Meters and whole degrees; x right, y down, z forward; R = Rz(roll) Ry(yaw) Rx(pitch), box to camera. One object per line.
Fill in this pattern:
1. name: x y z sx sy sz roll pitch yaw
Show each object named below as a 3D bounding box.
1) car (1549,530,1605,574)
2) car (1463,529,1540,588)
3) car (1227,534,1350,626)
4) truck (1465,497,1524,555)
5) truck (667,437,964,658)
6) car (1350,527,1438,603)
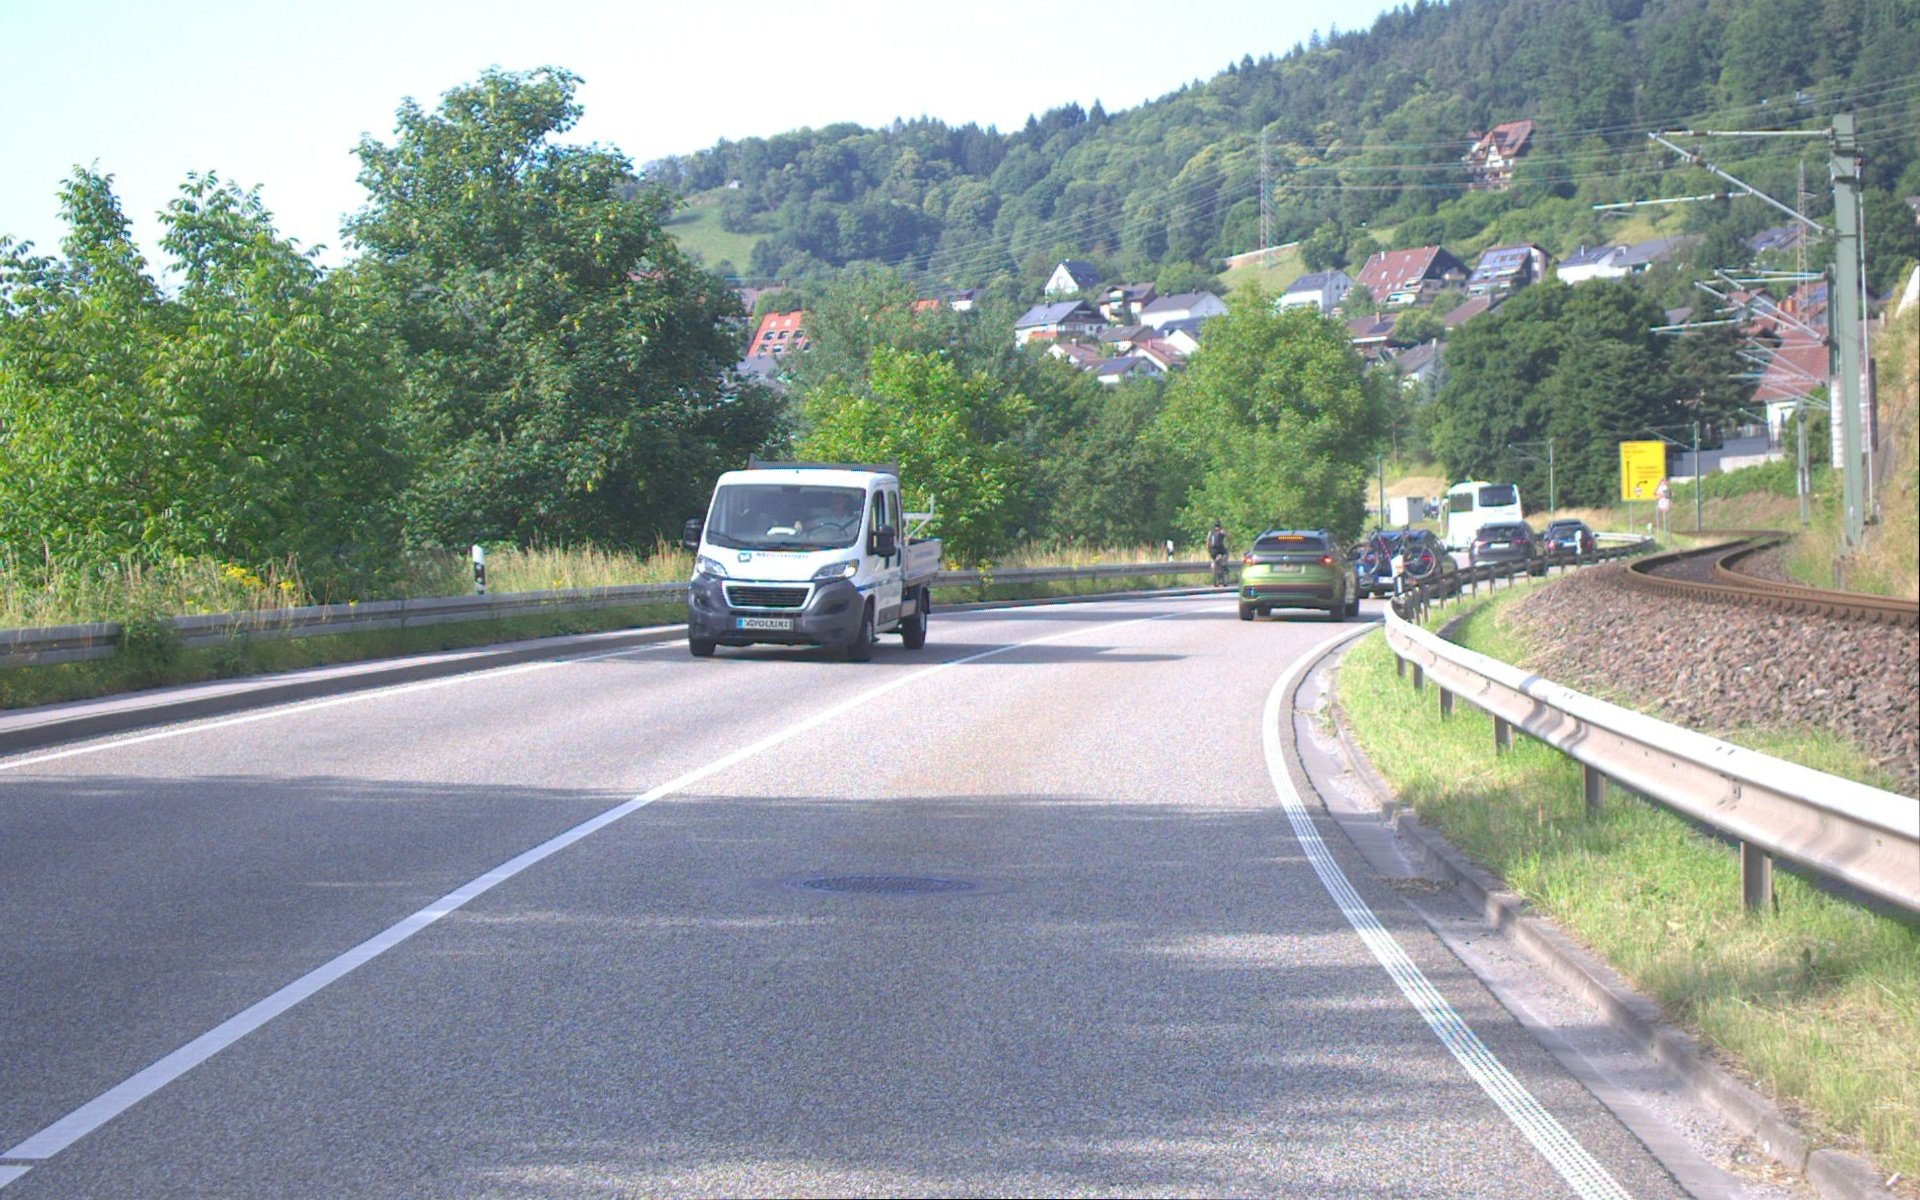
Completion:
1. car: 22.252 -1.741 123.940 1.850 1.521 3.660 0 1 12
2. car: 15.820 -1.227 100.266 1.881 1.681 3.998 0 1 14
3. car: 5.562 -0.357 57.892 1.715 1.450 3.998 2 1 10
4. truck: 28.992 -4.042 186.771 2.712 3.073 6.108 1 1 5
5. truck: -1.593 -0.624 41.122 2.158 2.357 6.743 2 1 9
6. car: 9.226 -0.763 72.867 1.668 1.554 3.999 0 1 10
